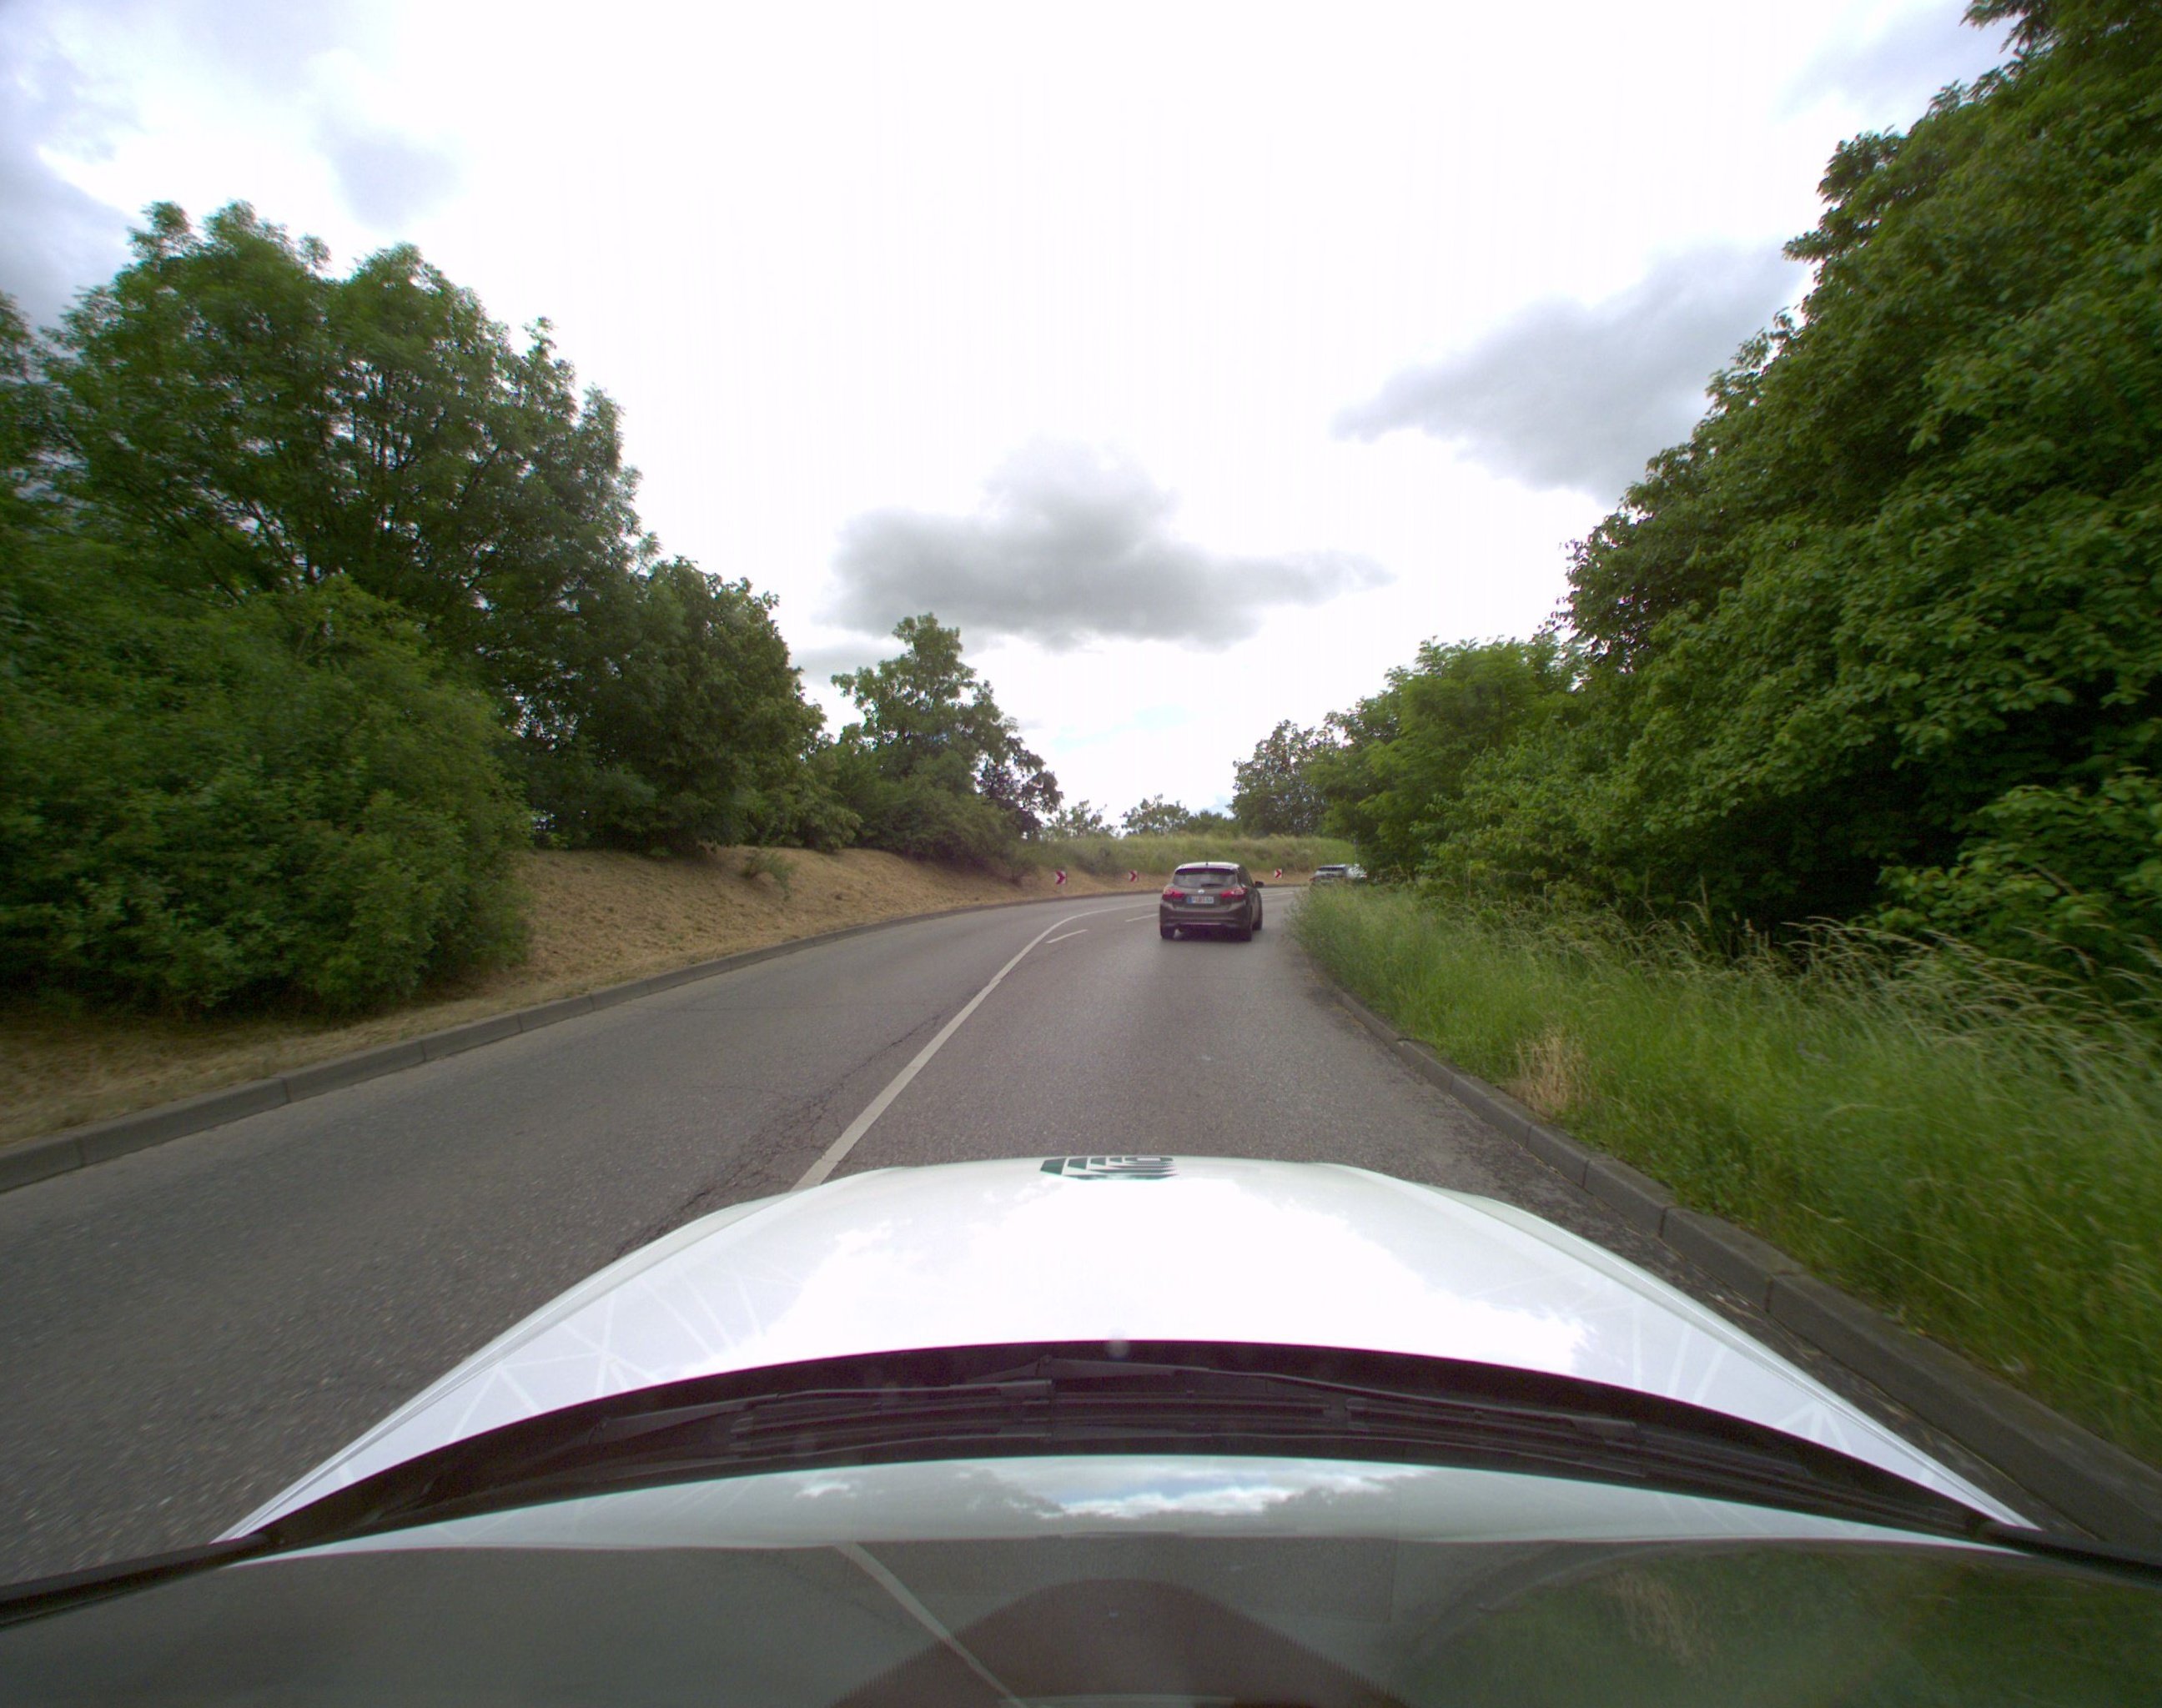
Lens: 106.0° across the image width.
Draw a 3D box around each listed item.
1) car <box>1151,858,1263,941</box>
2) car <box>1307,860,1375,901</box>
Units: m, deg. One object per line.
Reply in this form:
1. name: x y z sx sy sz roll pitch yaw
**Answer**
1. car: 2.775 0.850 17.135 1.831 1.493 4.017 0 0 16
2. car: 10.474 1.010 32.631 1.882 1.466 4.025 0 0 29
